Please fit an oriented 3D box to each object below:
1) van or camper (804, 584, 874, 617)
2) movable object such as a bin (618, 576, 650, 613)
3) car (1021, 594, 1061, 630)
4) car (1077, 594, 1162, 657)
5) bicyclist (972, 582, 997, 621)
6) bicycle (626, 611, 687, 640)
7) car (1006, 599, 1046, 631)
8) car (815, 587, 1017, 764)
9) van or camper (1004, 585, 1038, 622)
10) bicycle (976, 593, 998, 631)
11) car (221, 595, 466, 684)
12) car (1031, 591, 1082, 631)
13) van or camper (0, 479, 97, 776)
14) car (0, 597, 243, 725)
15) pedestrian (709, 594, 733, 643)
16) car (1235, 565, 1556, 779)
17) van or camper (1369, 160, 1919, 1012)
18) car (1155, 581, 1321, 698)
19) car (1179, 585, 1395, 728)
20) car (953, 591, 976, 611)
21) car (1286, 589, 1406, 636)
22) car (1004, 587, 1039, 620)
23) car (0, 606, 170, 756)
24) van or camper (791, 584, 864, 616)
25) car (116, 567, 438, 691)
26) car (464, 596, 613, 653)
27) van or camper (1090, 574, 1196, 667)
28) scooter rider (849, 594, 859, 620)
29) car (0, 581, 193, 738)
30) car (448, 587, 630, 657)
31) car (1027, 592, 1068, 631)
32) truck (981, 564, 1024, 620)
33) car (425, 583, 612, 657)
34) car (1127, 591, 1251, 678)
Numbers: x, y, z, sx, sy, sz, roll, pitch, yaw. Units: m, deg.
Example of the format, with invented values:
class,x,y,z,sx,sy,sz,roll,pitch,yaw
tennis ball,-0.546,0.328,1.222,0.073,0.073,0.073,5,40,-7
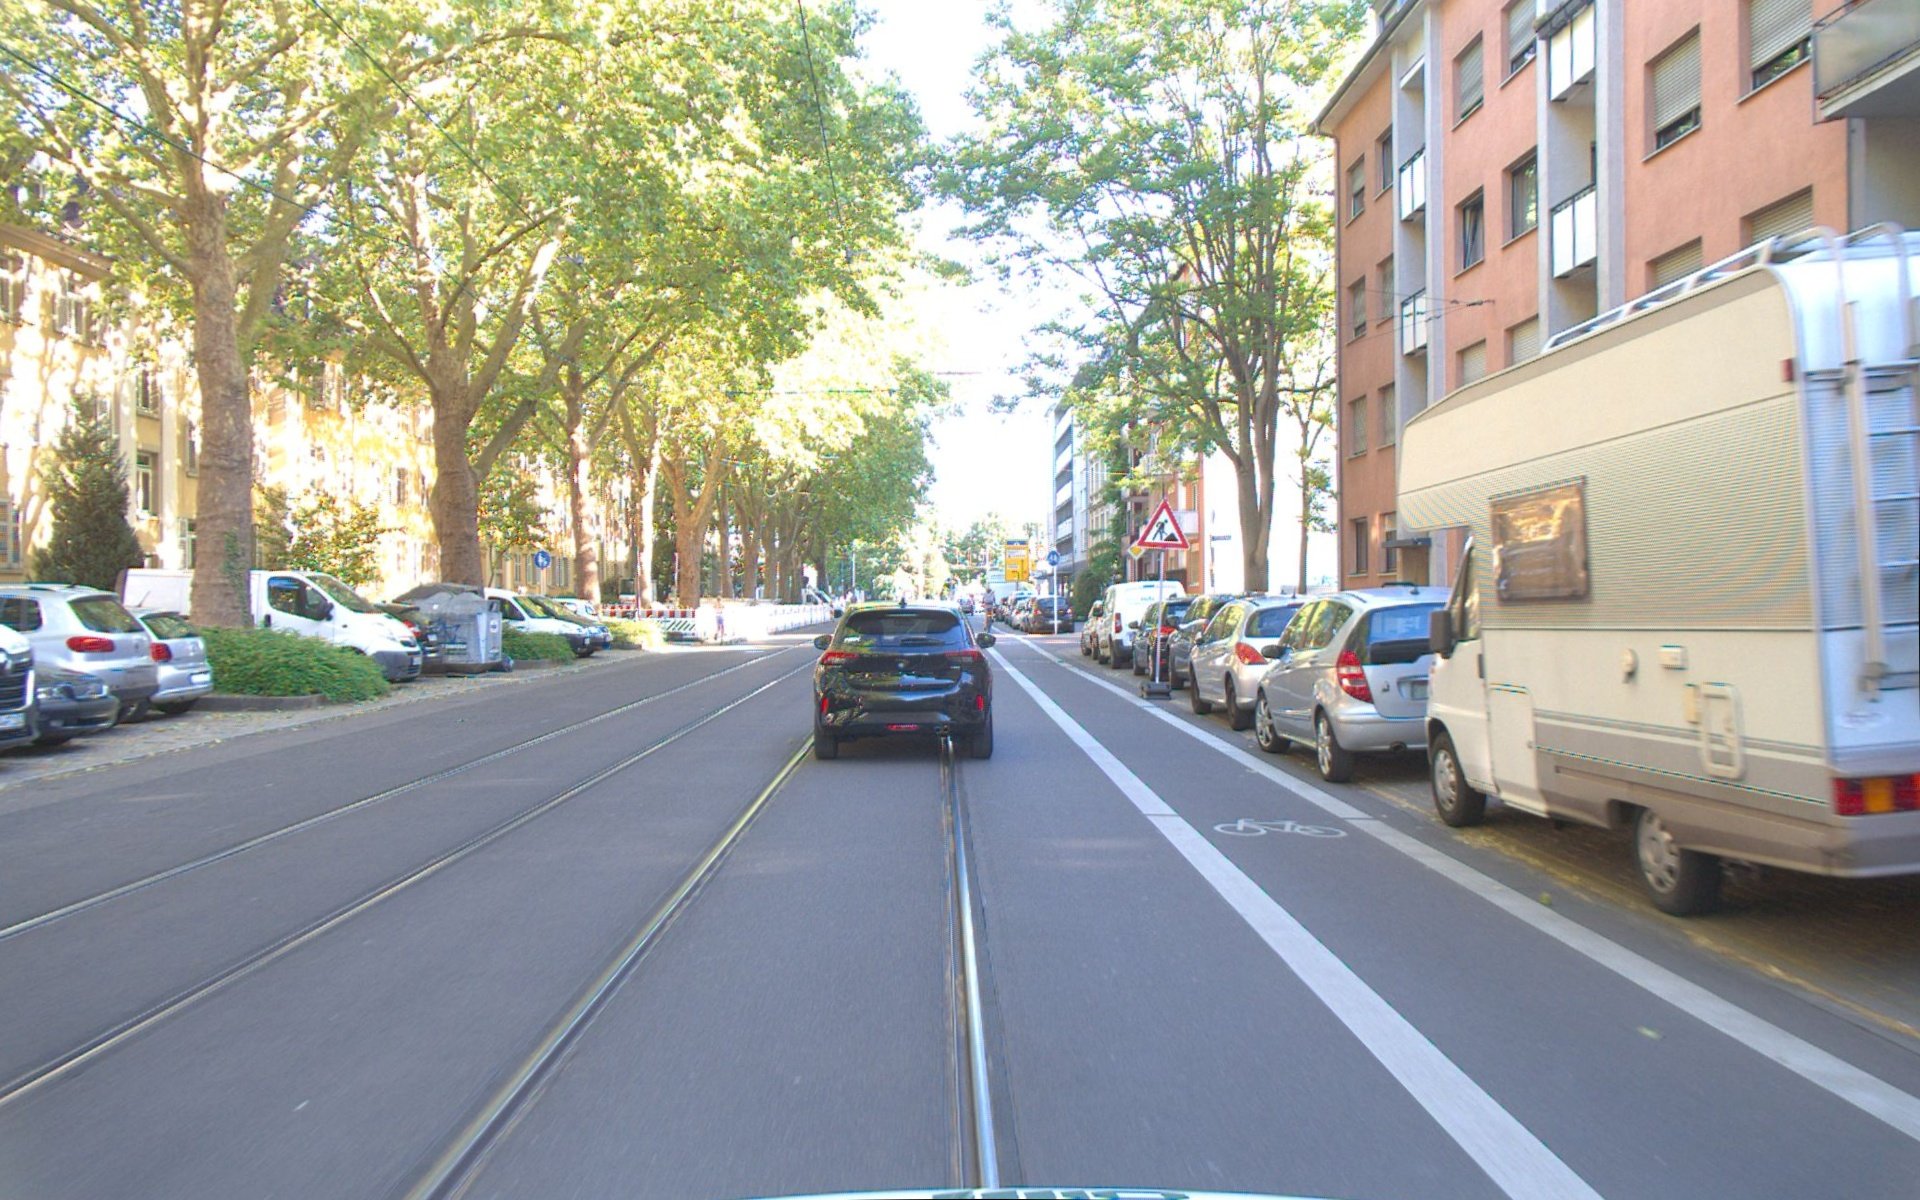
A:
class,x,y,z,sx,sy,sz,roll,pitch,yaw
van or camper,-10.076,0.040,138.182,5.607,2.690,2.269,1,-1,-1
movable object such as a bin,-17.458,-0.283,88.656,1.306,1.901,2.007,1,-1,-1
car,3.648,0.542,75.212,1.559,1.553,3.834,-3,0,0
car,3.979,0.607,41.776,1.671,1.498,3.999,-1,0,-1
bicyclist,1.062,0.081,71.847,1.067,1.676,1.400,0,0,0
bicycle,-10.424,0.877,56.825,1.932,0.979,0.726,0,0,0
car,3.215,0.711,80.762,1.626,1.424,4.738,-2,0,-1
car,-0.415,0.645,16.288,1.745,1.522,3.999,0,0,-1
van or camper,3.337,0.178,90.507,1.635,1.915,4.210,-2,0,0
bicycle,1.161,0.512,71.864,0.897,1.588,3.404,0,0,0
car,-11.269,0.703,30.431,3.769,1.524,1.862,-1,0,-1
car,3.843,0.440,66.547,1.698,1.487,3.915,-2,0,-1
van or camper,-10.914,0.230,14.593,5.279,2.560,2.444,0,0,-1
car,-11.554,0.766,21.326,3.769,1.524,1.862,-1,0,-1
pedestrian,-8.419,0.653,58.245,0.702,1.698,0.778,1,-1,0
car,3.889,0.575,15.546,1.756,1.656,4.275,-2,0,-1
van or camper,4.425,-0.110,9.246,2.412,3.117,6.265,-2,0,-2
car,4.244,0.559,25.905,1.732,1.599,4.336,-2,0,-1
car,3.993,0.629,20.906,1.752,1.548,4.321,-2,0,-1
car,0.402,0.053,152.997,1.953,1.725,4.738,-2,0,-1
car,13.514,0.423,57.981,3.835,1.508,1.561,0,3,-2
car,3.196,0.166,85.918,1.626,1.608,3.588,-2,0,0
car,-10.530,0.811,16.754,4.177,1.423,1.753,-1,0,-1
van or camper,-10.293,-0.022,128.528,5.387,2.421,2.270,1,-1,3
car,-11.290,0.464,27.607,4.565,1.979,1.960,0,0,-4
car,-12.001,0.688,47.240,3.769,1.524,1.862,-1,0,-1
van or camper,3.988,0.419,36.723,1.719,1.897,4.829,-1,0,-1
scooter rider,-8.031,0.552,125.276,0.636,1.991,0.624,1,-1,0
car,-11.143,0.669,18.994,3.769,1.692,1.862,-1,0,-1
car,-10.916,0.557,43.078,4.145,1.717,1.934,-1,0,6
car,3.698,0.499,70.394,1.495,1.618,3.751,1,0,0
truck,2.733,-0.468,108.046,2.487,3.396,7.194,-3,0,0
car,-10.846,0.484,40.801,4.112,1.788,1.740,0,0,0
car,4.211,0.595,30.983,1.671,1.498,4.167,-1,0,-1
